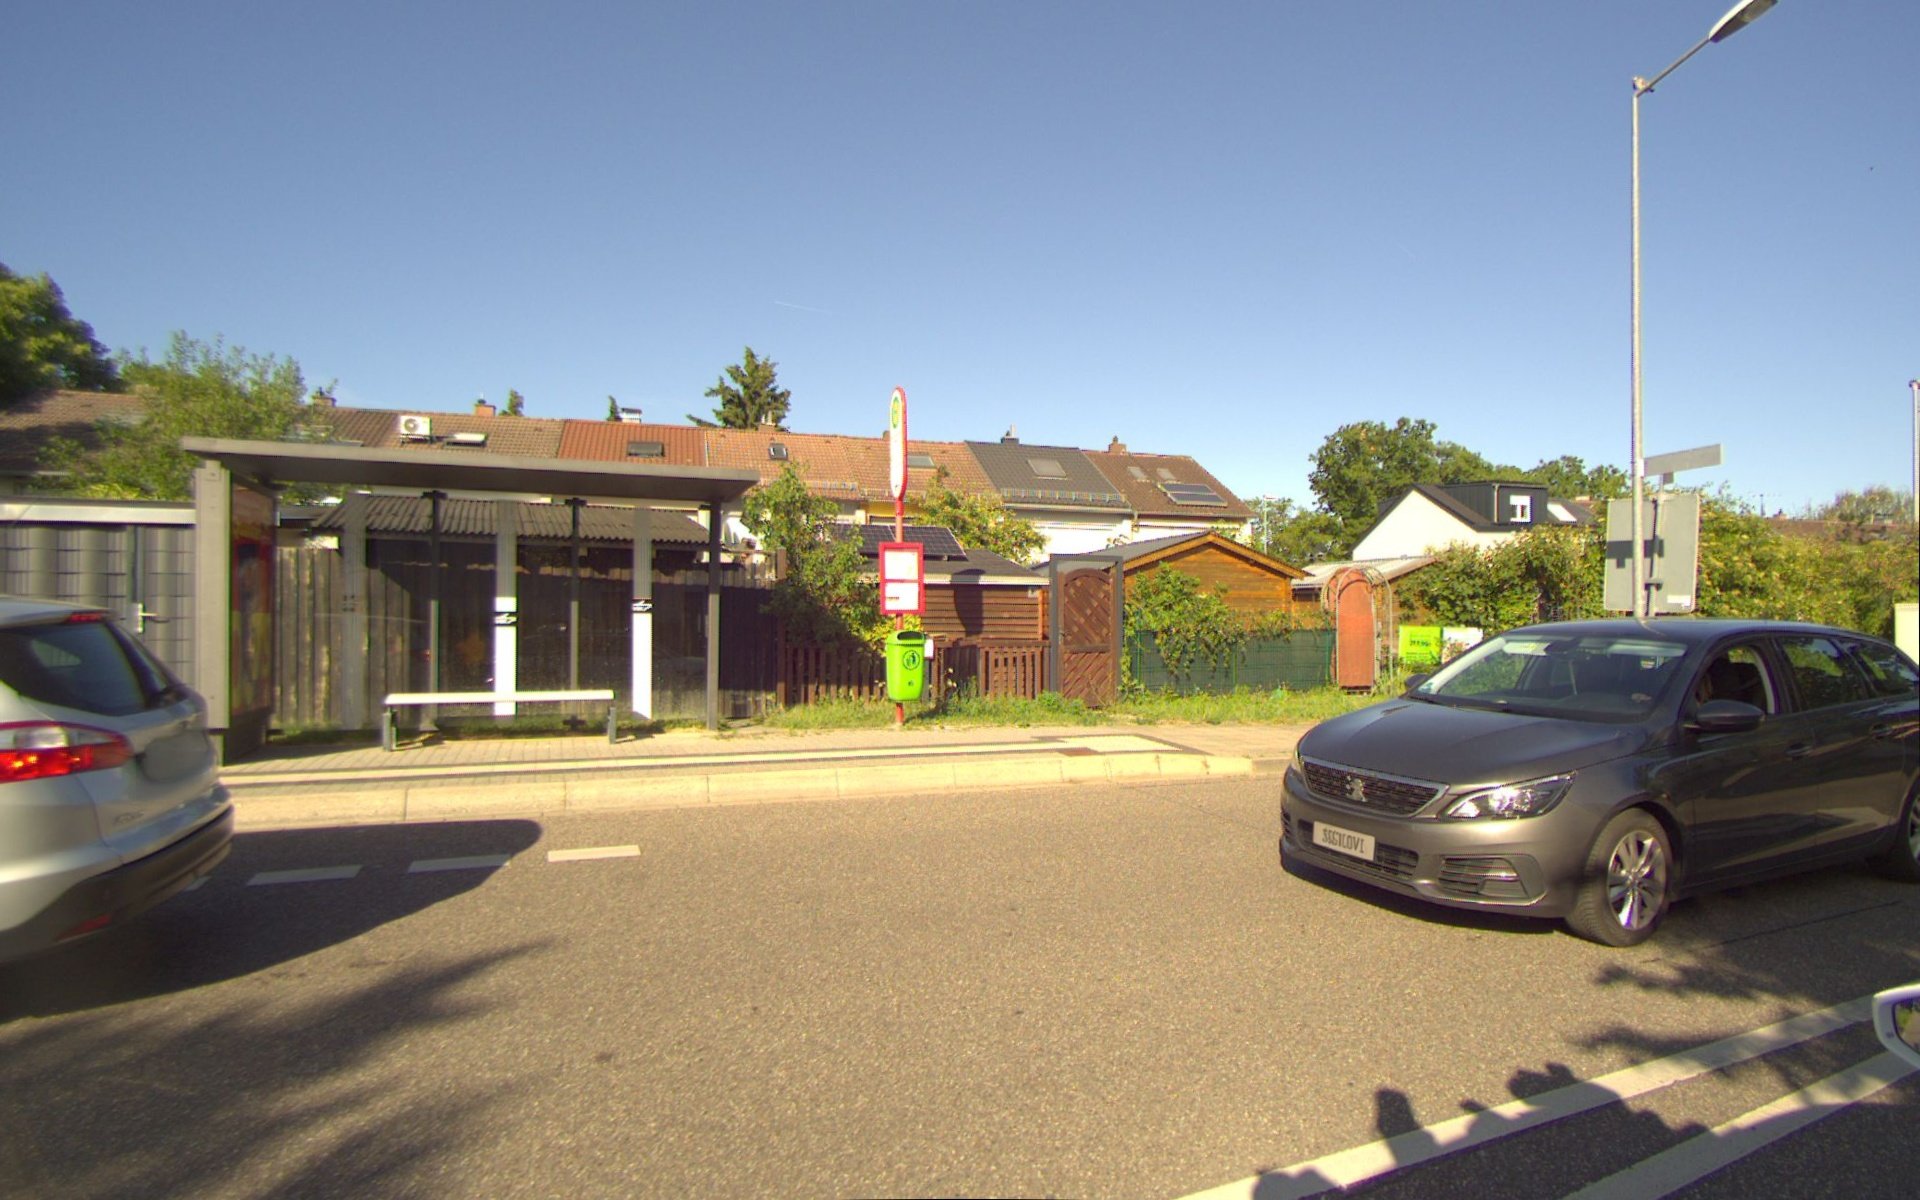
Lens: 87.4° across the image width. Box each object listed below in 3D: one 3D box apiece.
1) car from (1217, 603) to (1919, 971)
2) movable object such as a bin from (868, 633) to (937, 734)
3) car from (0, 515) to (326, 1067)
[{"bbox_3d":[3.875,0.777,5.900,4.393,1.463,1.986,1,0,-27],"label":"car"},{"bbox_3d":[-0.615,0.865,10.596,0.550,0.981,0.591,0,3,-23],"label":"movable object such as a bin"},{"bbox_3d":[-4.949,0.544,3.279,4.467,1.612,2.206,1,-1,-21],"label":"car"}]
